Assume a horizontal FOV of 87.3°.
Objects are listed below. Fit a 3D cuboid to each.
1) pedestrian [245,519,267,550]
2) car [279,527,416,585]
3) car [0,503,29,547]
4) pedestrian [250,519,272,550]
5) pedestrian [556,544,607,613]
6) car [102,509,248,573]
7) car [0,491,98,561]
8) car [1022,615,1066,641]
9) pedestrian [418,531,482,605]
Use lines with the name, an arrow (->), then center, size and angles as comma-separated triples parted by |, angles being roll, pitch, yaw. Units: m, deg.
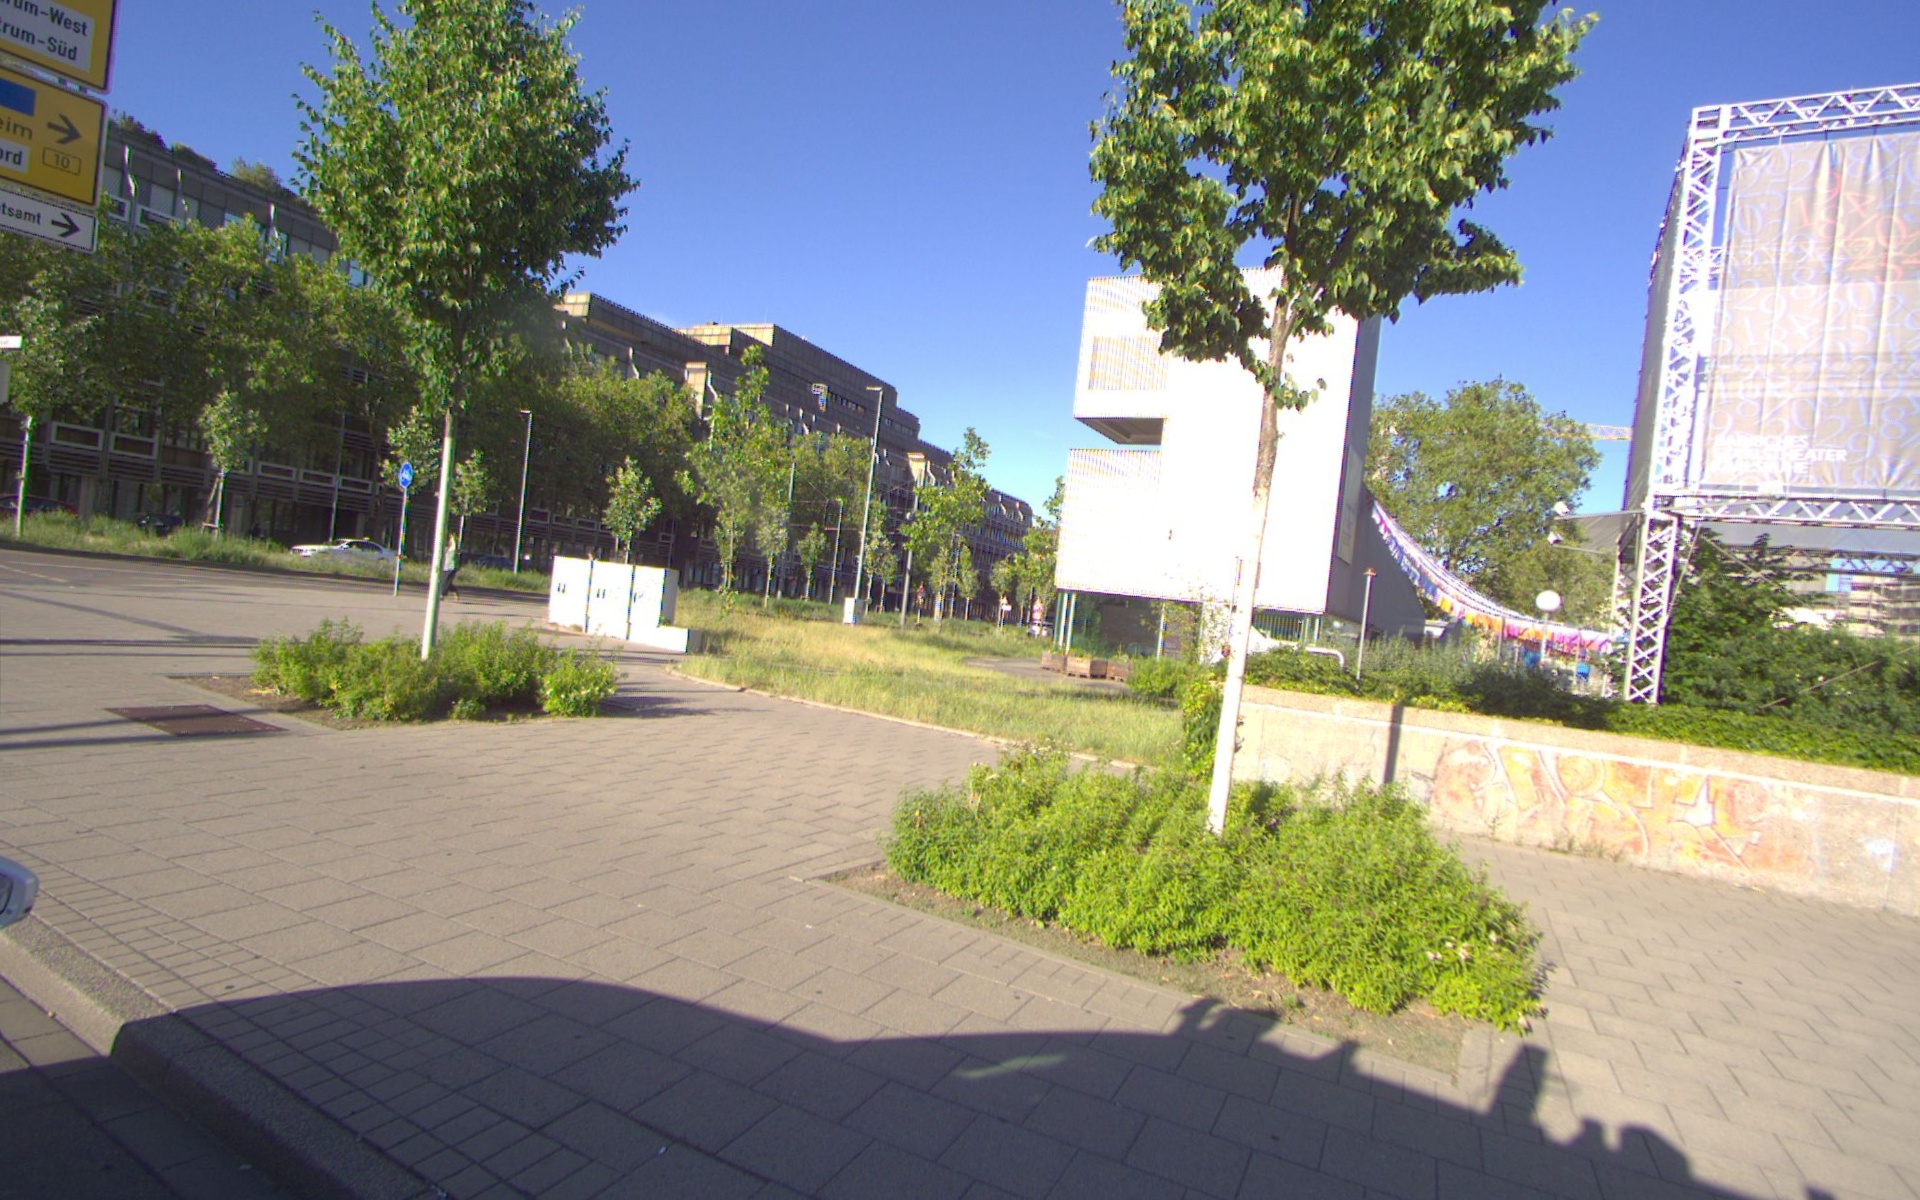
pedestrian -> -41.559, -3.873, 59.369 | 0.728, 1.678, 0.665 | 7, 1, 25
car -> -30.674, -2.178, 50.580 | 2.062, 2.036, 5.455 | 6, -2, 29
car -> -37.242, -3.041, 36.940 | 1.836, 1.525, 3.997 | 7, -2, 29
pedestrian -> -40.893, -3.805, 58.859 | 0.728, 1.678, 0.665 | 7, 1, 25
pedestrian -> -10.380, -0.591, 27.610 | 0.925, 1.750, 0.695 | 7, 1, 18
car -> -34.110, -2.526, 43.877 | 1.965, 2.036, 4.458 | 7, -2, 27
car -> -33.312, -2.709, 35.370 | 1.966, 2.036, 3.997 | 6, -2, 29
car -> 6.703, 2.231, 79.835 | 1.964, 1.680, 4.404 | 7, 0, 23
pedestrian -> -12.339, -0.771, 24.347 | 0.925, 1.650, 0.803 | 7, 1, 18
